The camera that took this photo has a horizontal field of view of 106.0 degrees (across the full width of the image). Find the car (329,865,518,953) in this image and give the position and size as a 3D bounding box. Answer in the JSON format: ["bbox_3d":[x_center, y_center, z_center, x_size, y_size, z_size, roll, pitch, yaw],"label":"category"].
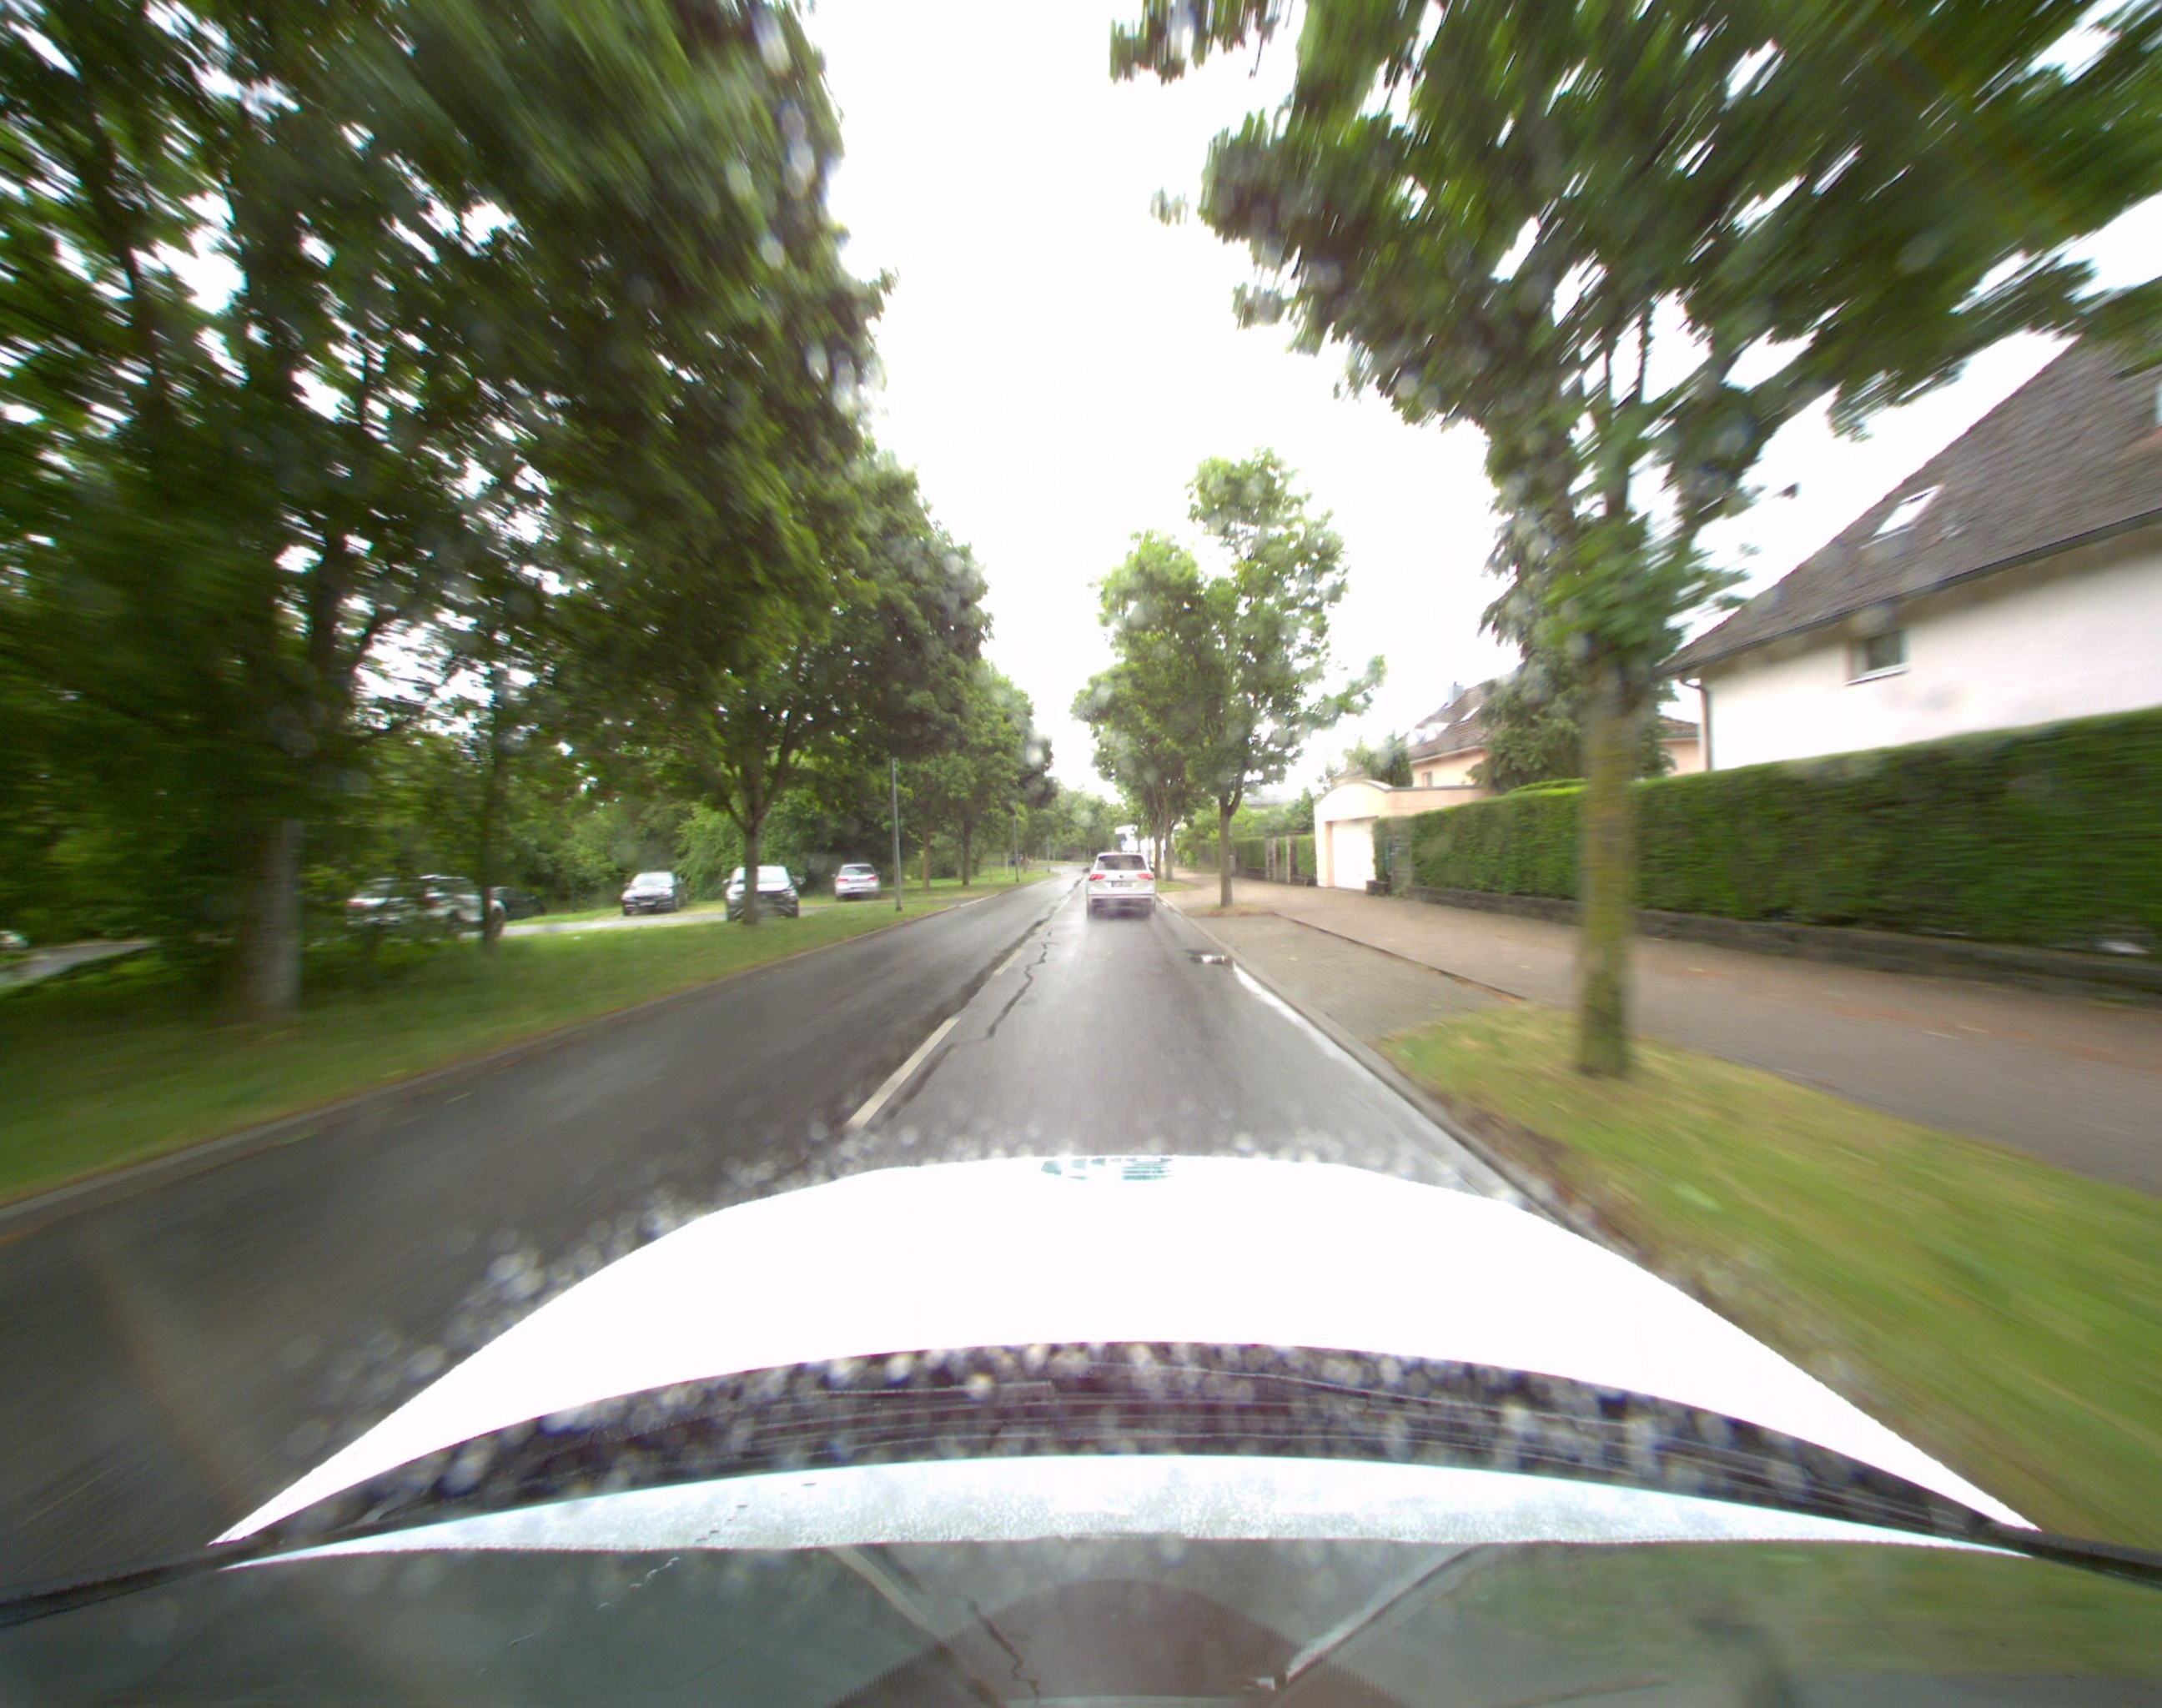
[{"bbox_3d":[-15.804,1.289,19.953,1.909,1.770,4.868,-3,-2,-18],"label":"car"}]

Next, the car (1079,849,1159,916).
[{"bbox_3d":[1.057,0.715,22.473,1.966,1.653,4.180,-1,0,2],"label":"car"}]

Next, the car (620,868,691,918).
[{"bbox_3d":[-16.223,1.424,31.264,1.869,1.508,4.574,-3,2,-21],"label":"car"}]

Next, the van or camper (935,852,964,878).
[{"bbox_3d":[-13.397,1.086,83.115,2.381,2.360,6.797,-3,0,-6],"label":"van or camper"}]

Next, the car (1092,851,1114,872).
[{"bbox_3d":[2.123,0.704,81.025,1.897,2.014,3.940,0,0,-3],"label":"car"}]

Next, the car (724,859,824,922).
[{"bbox_3d":[-8.379,0.935,22.569,1.890,1.514,4.232,-2,0,-12],"label":"car"}]

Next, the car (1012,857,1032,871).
[{"bbox_3d":[-8.931,1.477,123.047,1.908,2.014,3.916,0,-1,-21],"label":"car"}]

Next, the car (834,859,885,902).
[{"bbox_3d":[-9.212,1.049,33.831,1.885,1.429,4.194,-3,2,-16],"label":"car"}]
